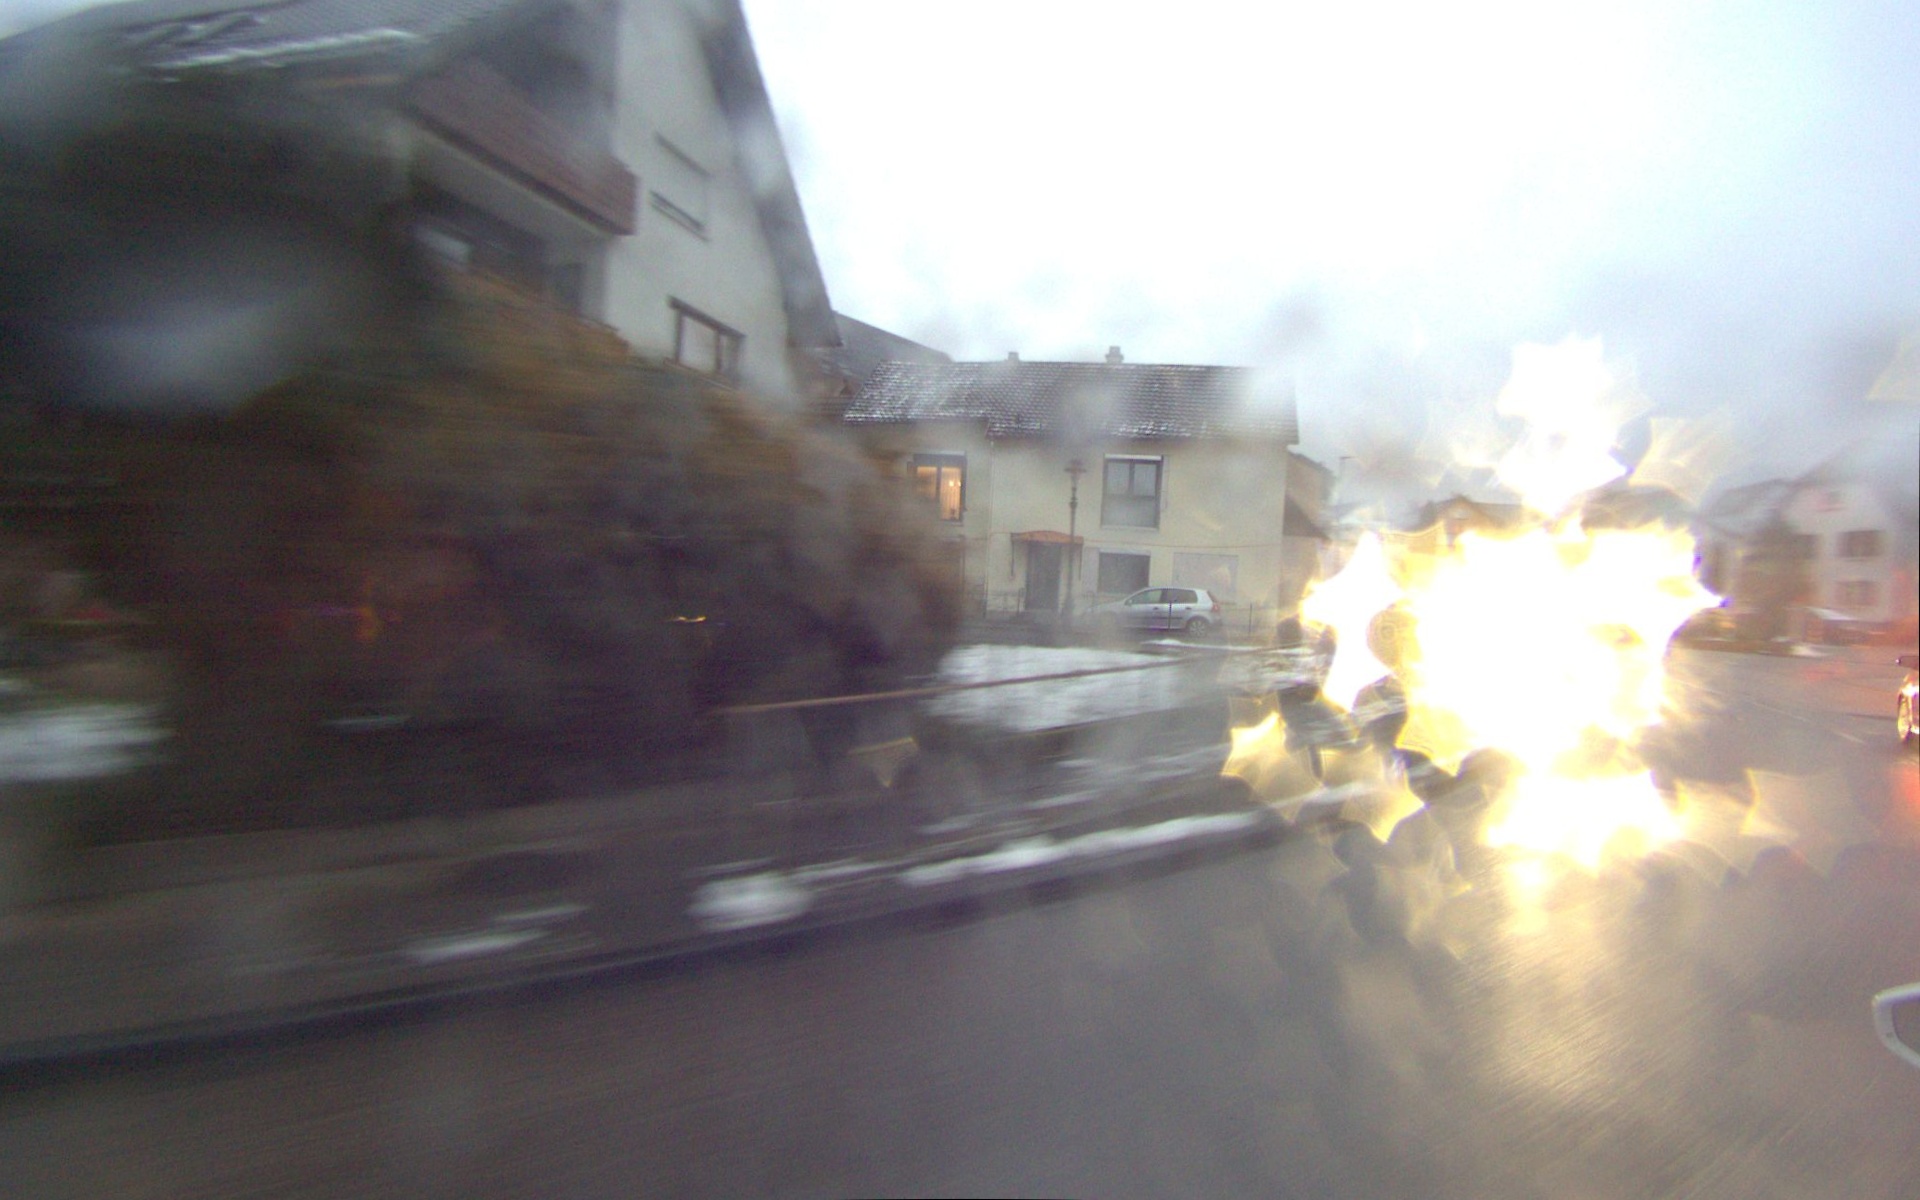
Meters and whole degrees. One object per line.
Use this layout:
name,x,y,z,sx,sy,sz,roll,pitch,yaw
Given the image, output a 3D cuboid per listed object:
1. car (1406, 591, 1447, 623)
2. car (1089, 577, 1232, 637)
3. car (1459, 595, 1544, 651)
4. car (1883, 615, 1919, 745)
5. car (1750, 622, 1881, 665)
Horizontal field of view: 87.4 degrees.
car,28.248,0.389,60.907,1.881,1.675,3.998,4,2,21
car,5.872,0.181,29.436,3.919,1.482,1.821,3,2,13
car,18.541,0.731,34.576,1.846,1.634,4.601,2,2,20
car,11.620,0.956,10.977,1.524,1.485,3.689,3,1,32
car,38.116,1.899,44.906,1.780,1.650,4.548,0,1,-4
